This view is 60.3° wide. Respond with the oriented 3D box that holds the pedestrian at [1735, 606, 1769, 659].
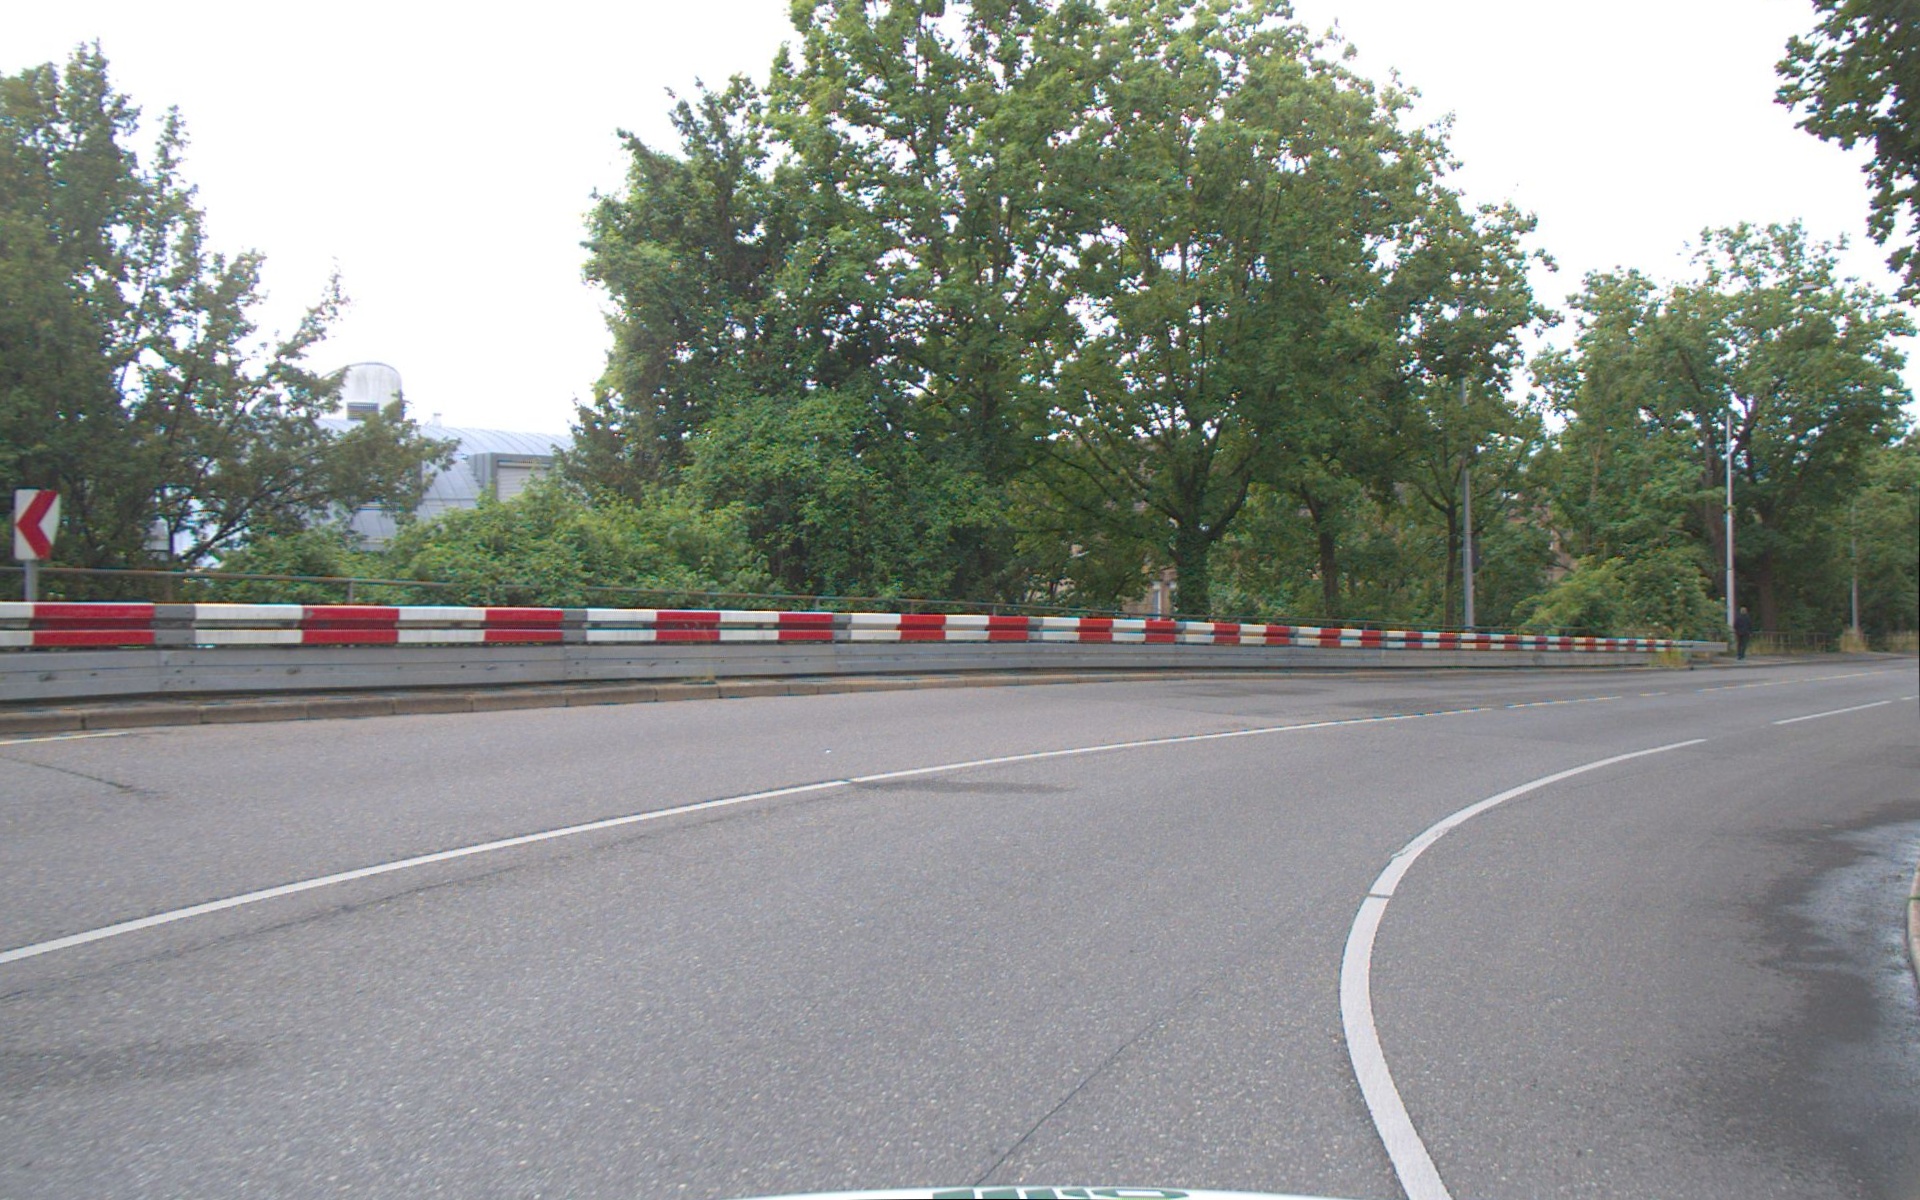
[{"bbox_3d":[28.135,1.139,58.739,0.775,1.804,1.204,4,2,35],"label":"pedestrian"}]
